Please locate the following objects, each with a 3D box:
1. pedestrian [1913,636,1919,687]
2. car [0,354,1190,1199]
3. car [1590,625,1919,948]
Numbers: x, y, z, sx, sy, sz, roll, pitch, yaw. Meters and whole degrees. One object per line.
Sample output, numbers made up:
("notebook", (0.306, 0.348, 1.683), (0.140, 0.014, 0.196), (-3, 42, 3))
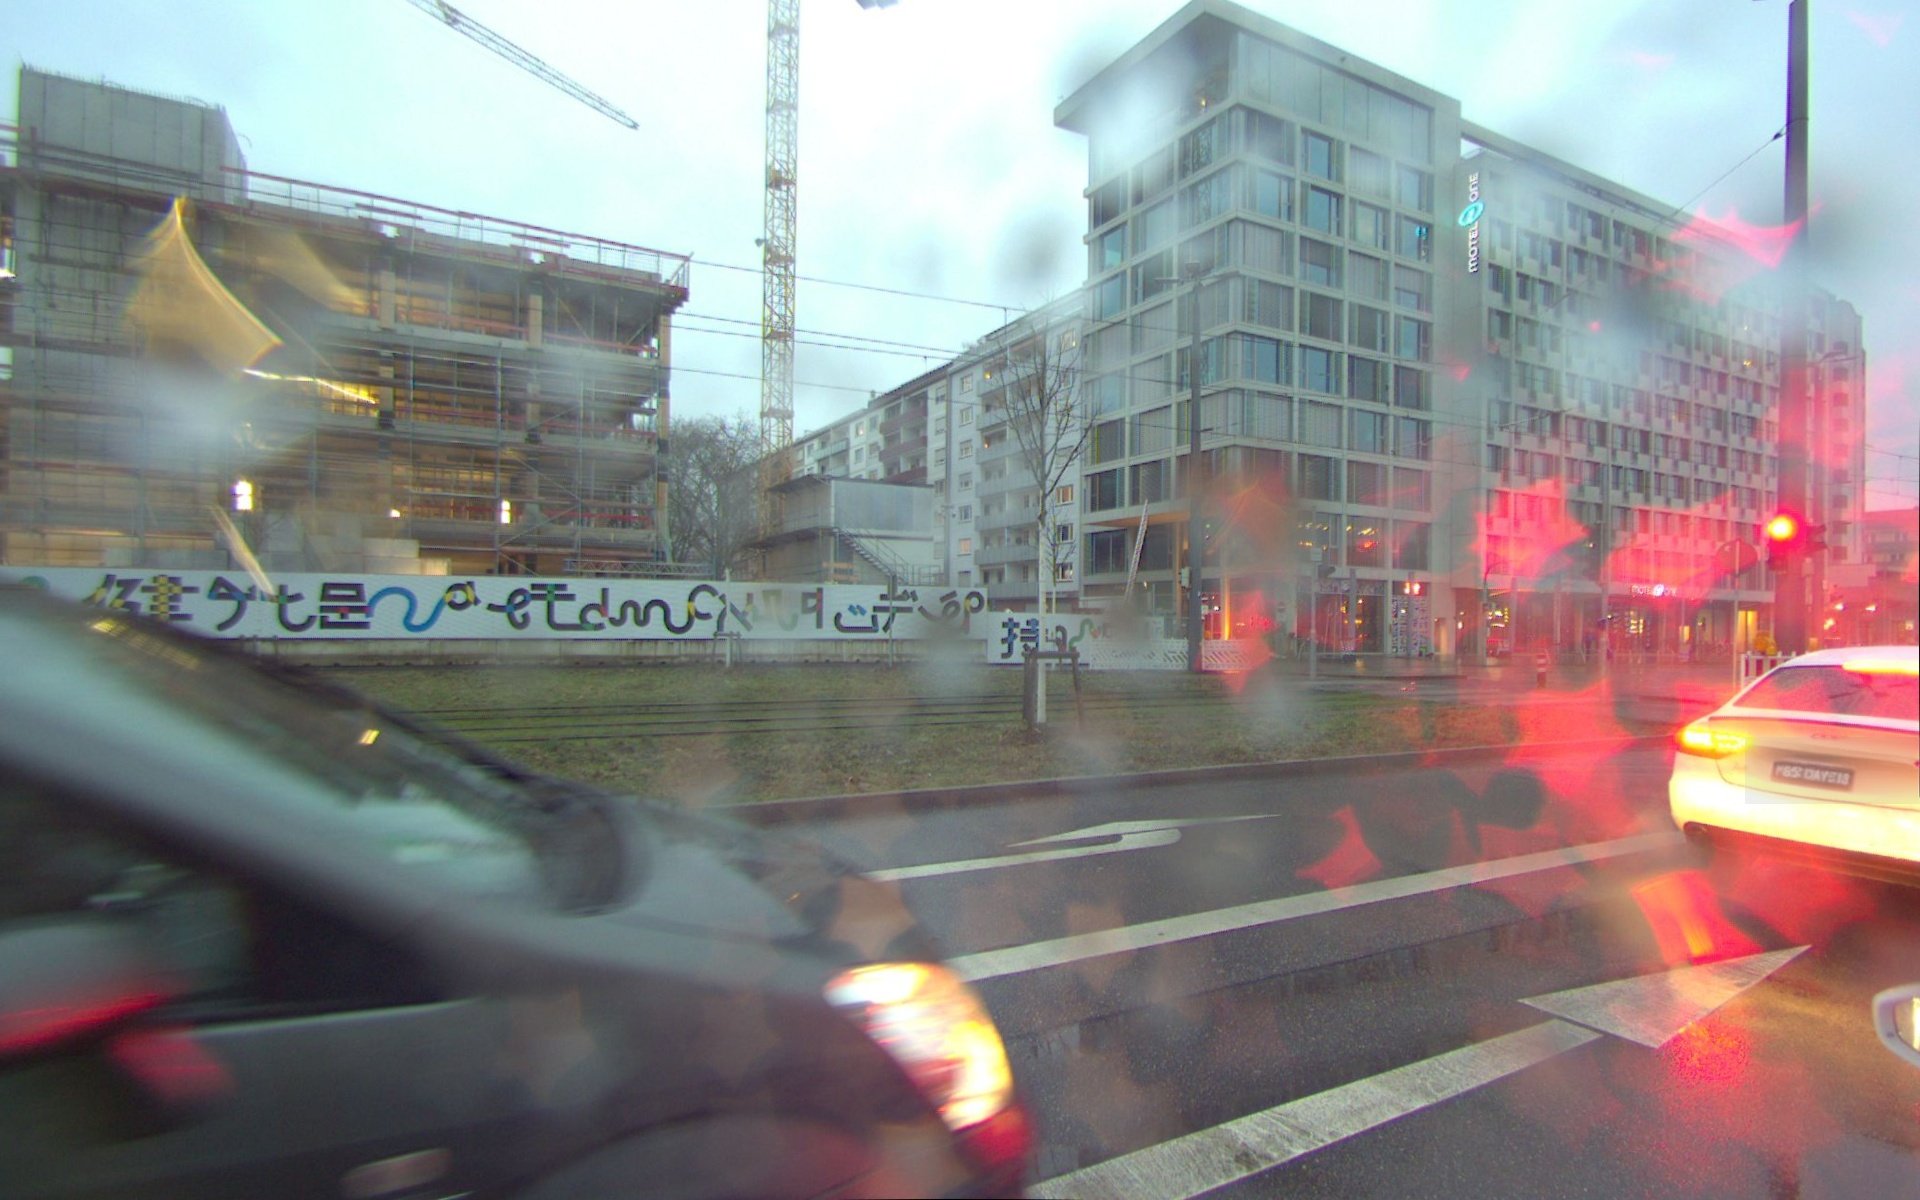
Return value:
("pedestrian", (32.854, 2.094, 34.009), (0.808, 1.734, 0.782), (2, 0, -45))
("car", (-1.813, 0.598, 1.387), (4.089, 1.668, 1.801), (1, 0, -32))
("car", (6.069, 0.930, 6.241), (4.320, 1.475, 1.983), (1, 0, -32))
